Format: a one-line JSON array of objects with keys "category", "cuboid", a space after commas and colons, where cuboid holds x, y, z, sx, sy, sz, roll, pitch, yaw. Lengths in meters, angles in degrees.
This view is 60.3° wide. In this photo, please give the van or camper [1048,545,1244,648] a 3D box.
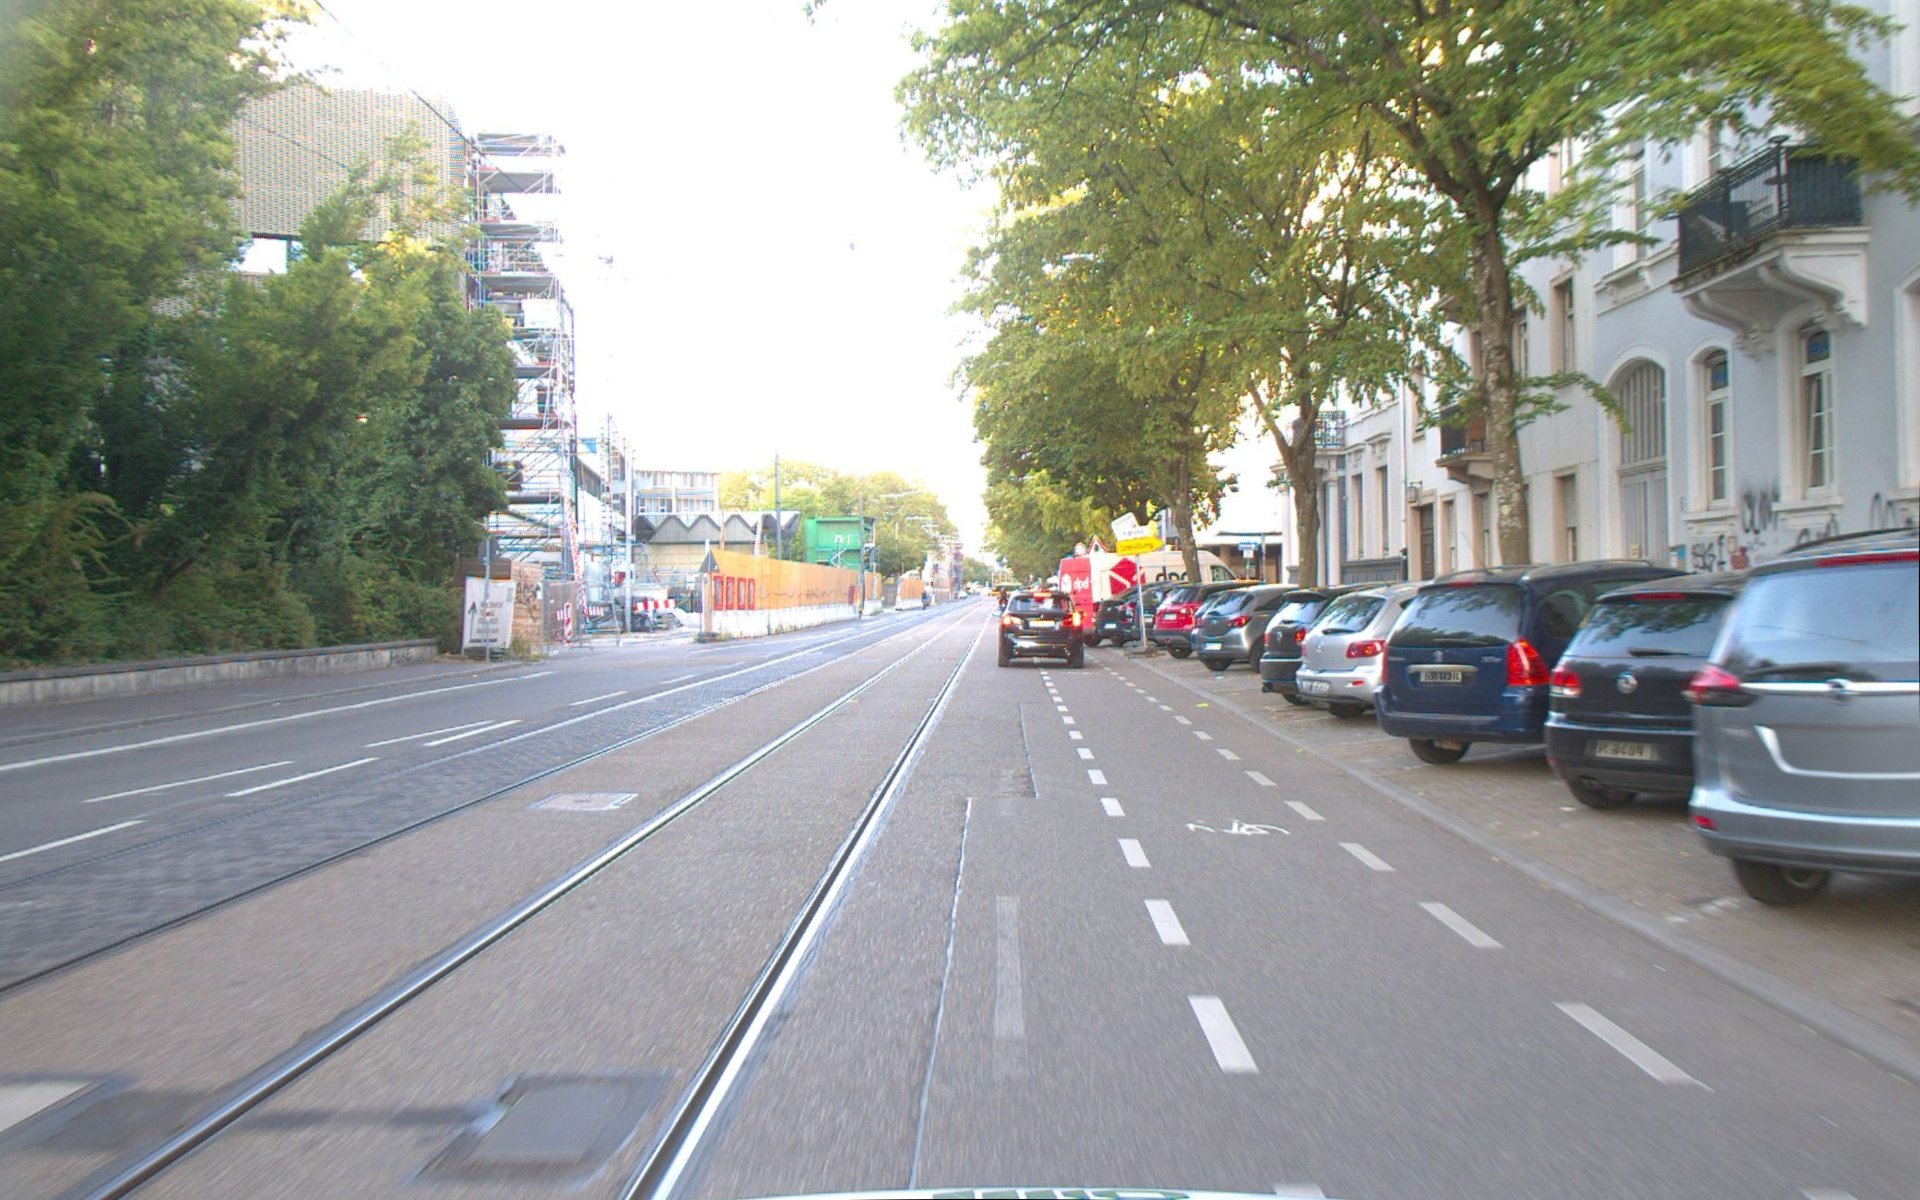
[{"category": "van or camper", "cuboid": [5.432, -0.123, 47.962, 5.483, 2.574, 2.062, -4, 0, -34]}]

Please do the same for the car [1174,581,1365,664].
[{"category": "car", "cuboid": [6.239, 0.439, 33.222, 3.607, 1.470, 1.640, -3, -1, -34]}]

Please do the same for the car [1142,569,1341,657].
[{"category": "car", "cuboid": [6.153, 0.285, 36.112, 3.893, 1.631, 1.826, -4, 0, -25]}]

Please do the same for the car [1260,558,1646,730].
[{"category": "car", "cuboid": [5.453, 0.428, 18.257, 3.896, 1.631, 1.824, -2, 0, -28]}]

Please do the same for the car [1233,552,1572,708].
[{"category": "car", "cuboid": [5.529, 0.341, 20.570, 3.902, 1.631, 1.821, -3, 0, -31]}]

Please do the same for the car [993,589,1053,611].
[{"category": "car", "cuboid": [4.250, -0.005, 112.023, 3.766, 1.445, 1.801, -1, 0, -7]}]

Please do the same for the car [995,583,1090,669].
[{"category": "car", "cuboid": [1.673, 0.510, 34.881, 1.843, 1.648, 4.001, 1, 0, 1]}]

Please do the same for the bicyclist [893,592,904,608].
[{"category": "bicyclist", "cuboid": [-5.563, -0.014, 149.598, 0.925, 1.369, 1.111, -1, 0, -1]}]

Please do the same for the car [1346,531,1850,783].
[{"category": "car", "cuboid": [5.322, 0.399, 13.714, 3.903, 1.631, 1.821, -5, 0, -31]}]

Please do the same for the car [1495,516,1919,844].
[{"category": "car", "cuboid": [5.560, 0.367, 10.771, 3.904, 1.631, 1.729, -6, 1, -31]}]

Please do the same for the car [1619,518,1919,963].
[{"category": "car", "cuboid": [5.133, 0.435, 7.587, 3.902, 1.697, 1.882, -4, 0, -31]}]

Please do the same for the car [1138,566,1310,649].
[{"category": "car", "cuboid": [6.701, 0.186, 41.956, 3.893, 1.796, 1.826, -4, 0, -25]}]

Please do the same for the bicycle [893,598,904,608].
[{"category": "bicycle", "cuboid": [-5.555, 0.247, 150.368, 0.928, 0.864, 2.696, -1, 0, -1]}]

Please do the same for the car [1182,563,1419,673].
[{"category": "car", "cuboid": [6.129, 0.313, 29.668, 3.903, 1.631, 1.821, -4, 0, -31]}]

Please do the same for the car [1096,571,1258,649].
[{"category": "car", "cuboid": [5.850, 0.259, 44.627, 3.893, 1.796, 1.826, -4, 0, -25]}]
